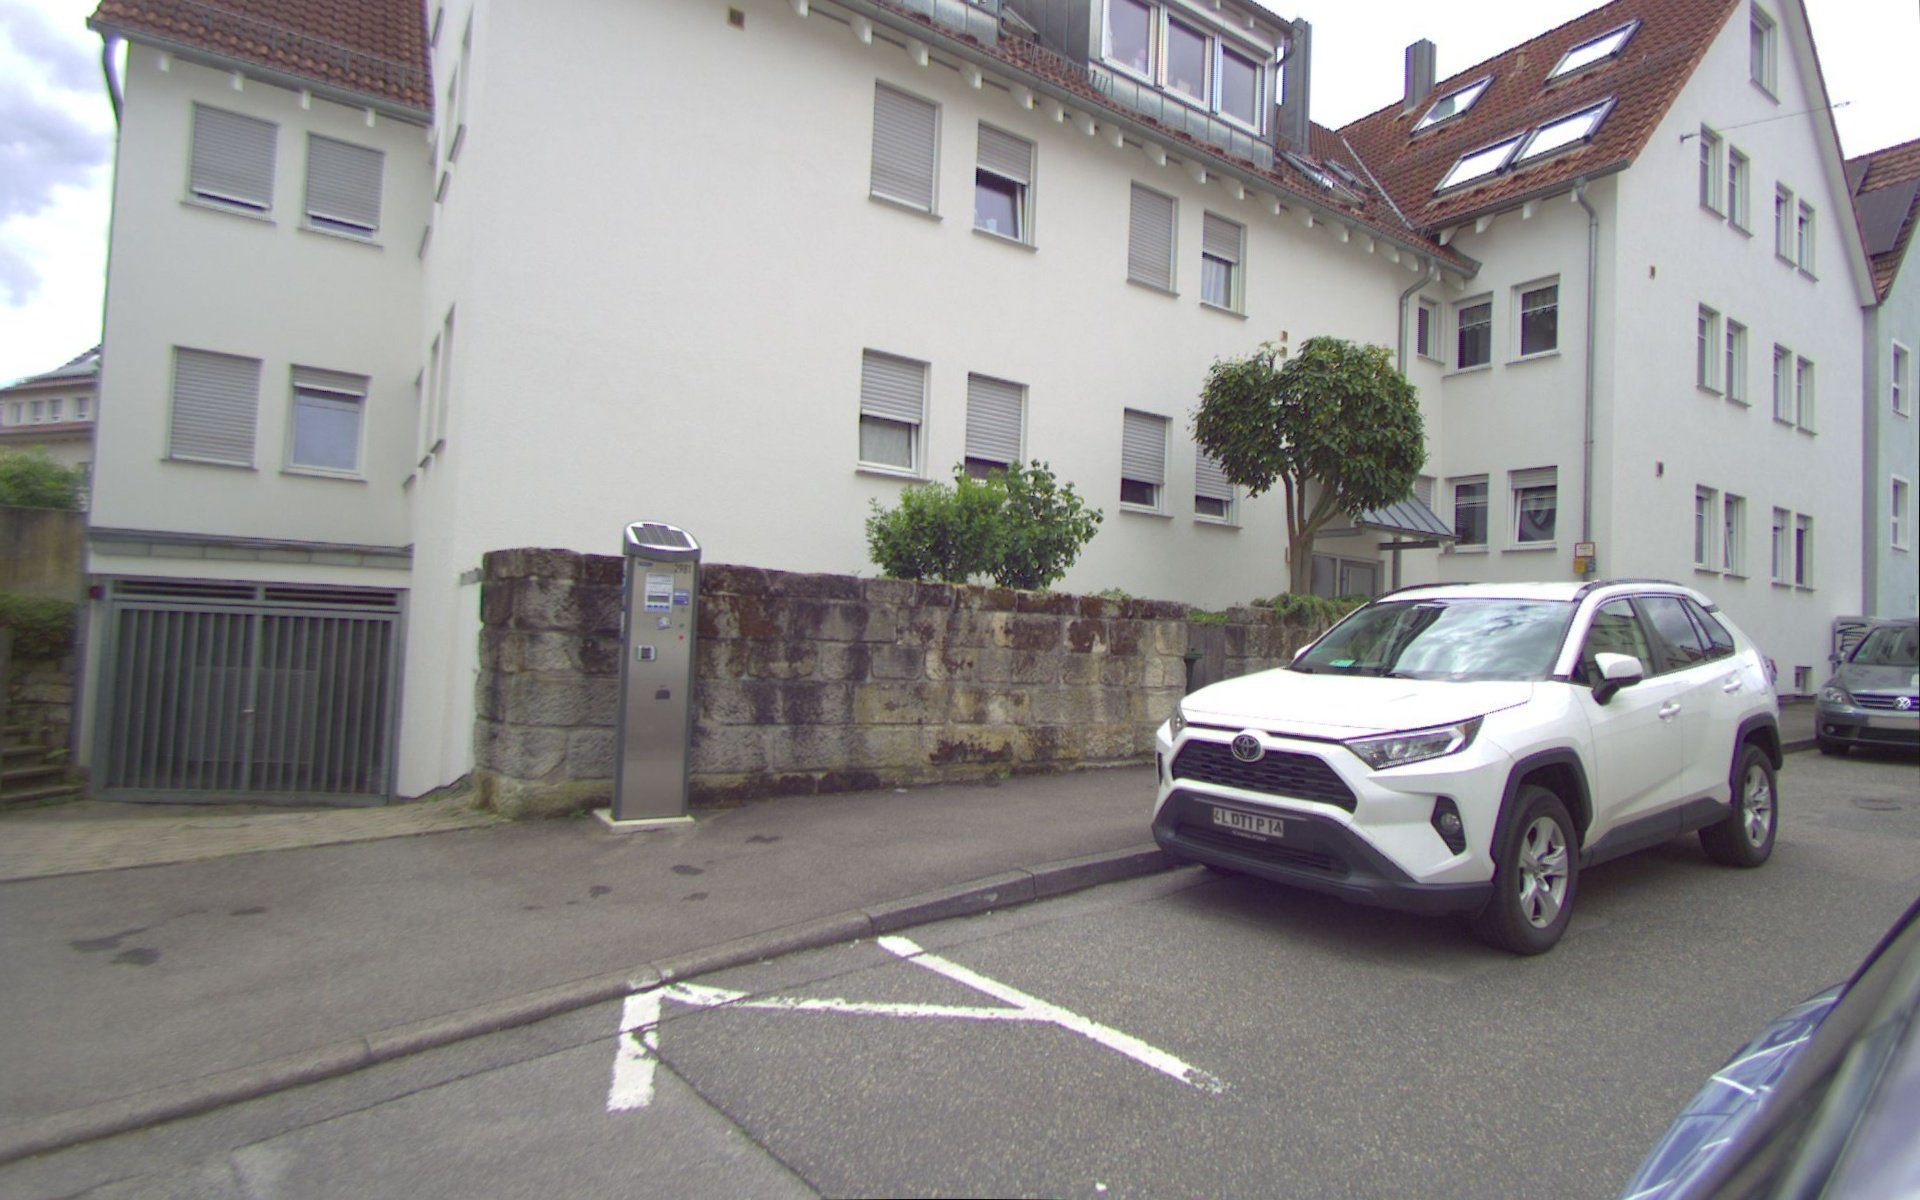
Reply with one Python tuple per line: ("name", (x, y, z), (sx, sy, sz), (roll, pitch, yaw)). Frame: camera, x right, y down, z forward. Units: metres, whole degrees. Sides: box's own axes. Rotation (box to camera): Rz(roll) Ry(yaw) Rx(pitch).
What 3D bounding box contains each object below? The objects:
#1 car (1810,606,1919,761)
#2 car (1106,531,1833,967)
("car", (11.356, 0.879, 11.468), (3.835, 1.584, 1.740), (1, -3, -36))
("car", (3.139, 0.629, 5.938), (4.375, 1.661, 1.952), (1, -2, -35))
